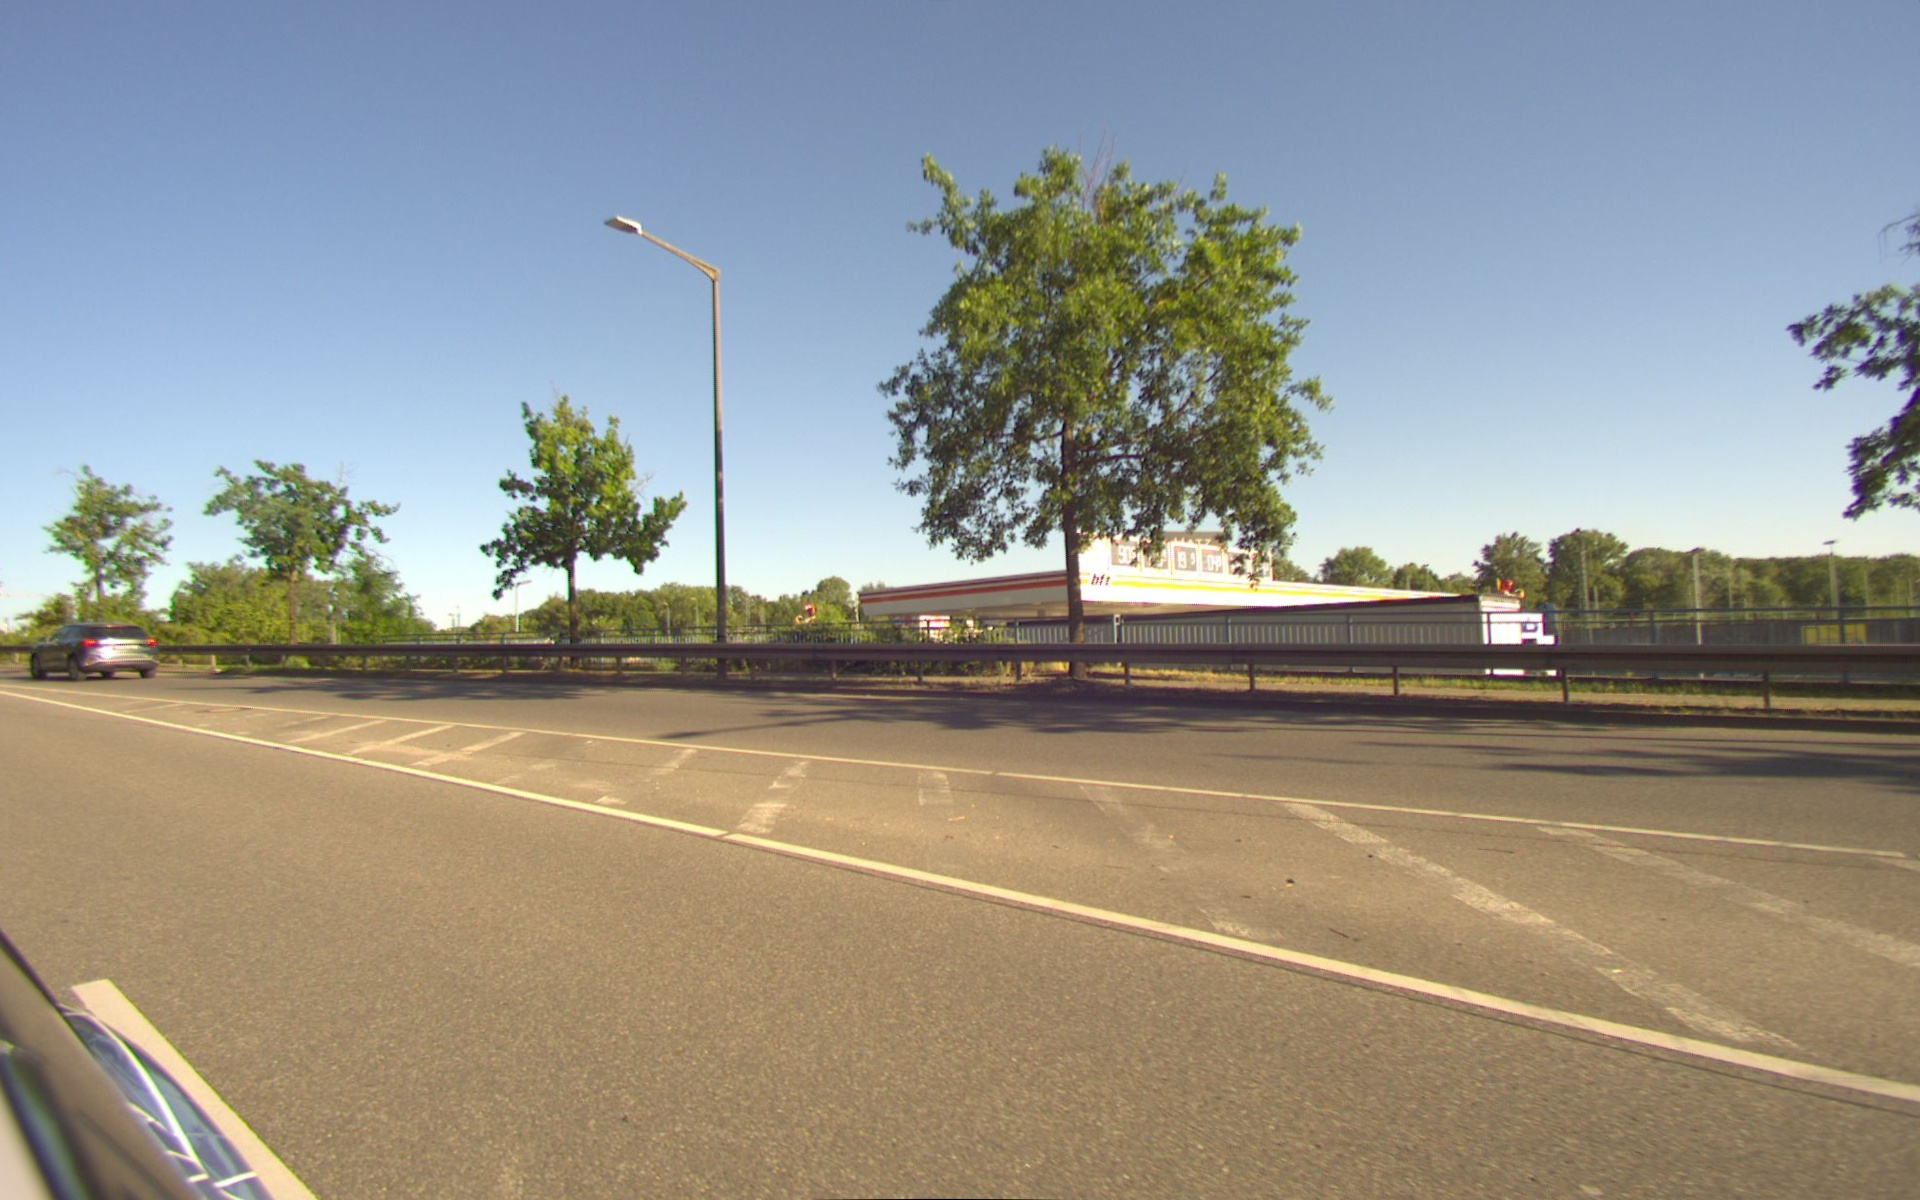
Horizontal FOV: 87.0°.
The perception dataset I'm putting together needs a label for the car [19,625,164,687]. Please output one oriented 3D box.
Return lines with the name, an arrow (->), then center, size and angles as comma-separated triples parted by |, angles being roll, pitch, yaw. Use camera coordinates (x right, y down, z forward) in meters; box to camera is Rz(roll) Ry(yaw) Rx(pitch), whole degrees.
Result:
car -> -23.313, 1.467, 27.132 | 4.262, 1.500, 1.749 | -2, -1, 31
